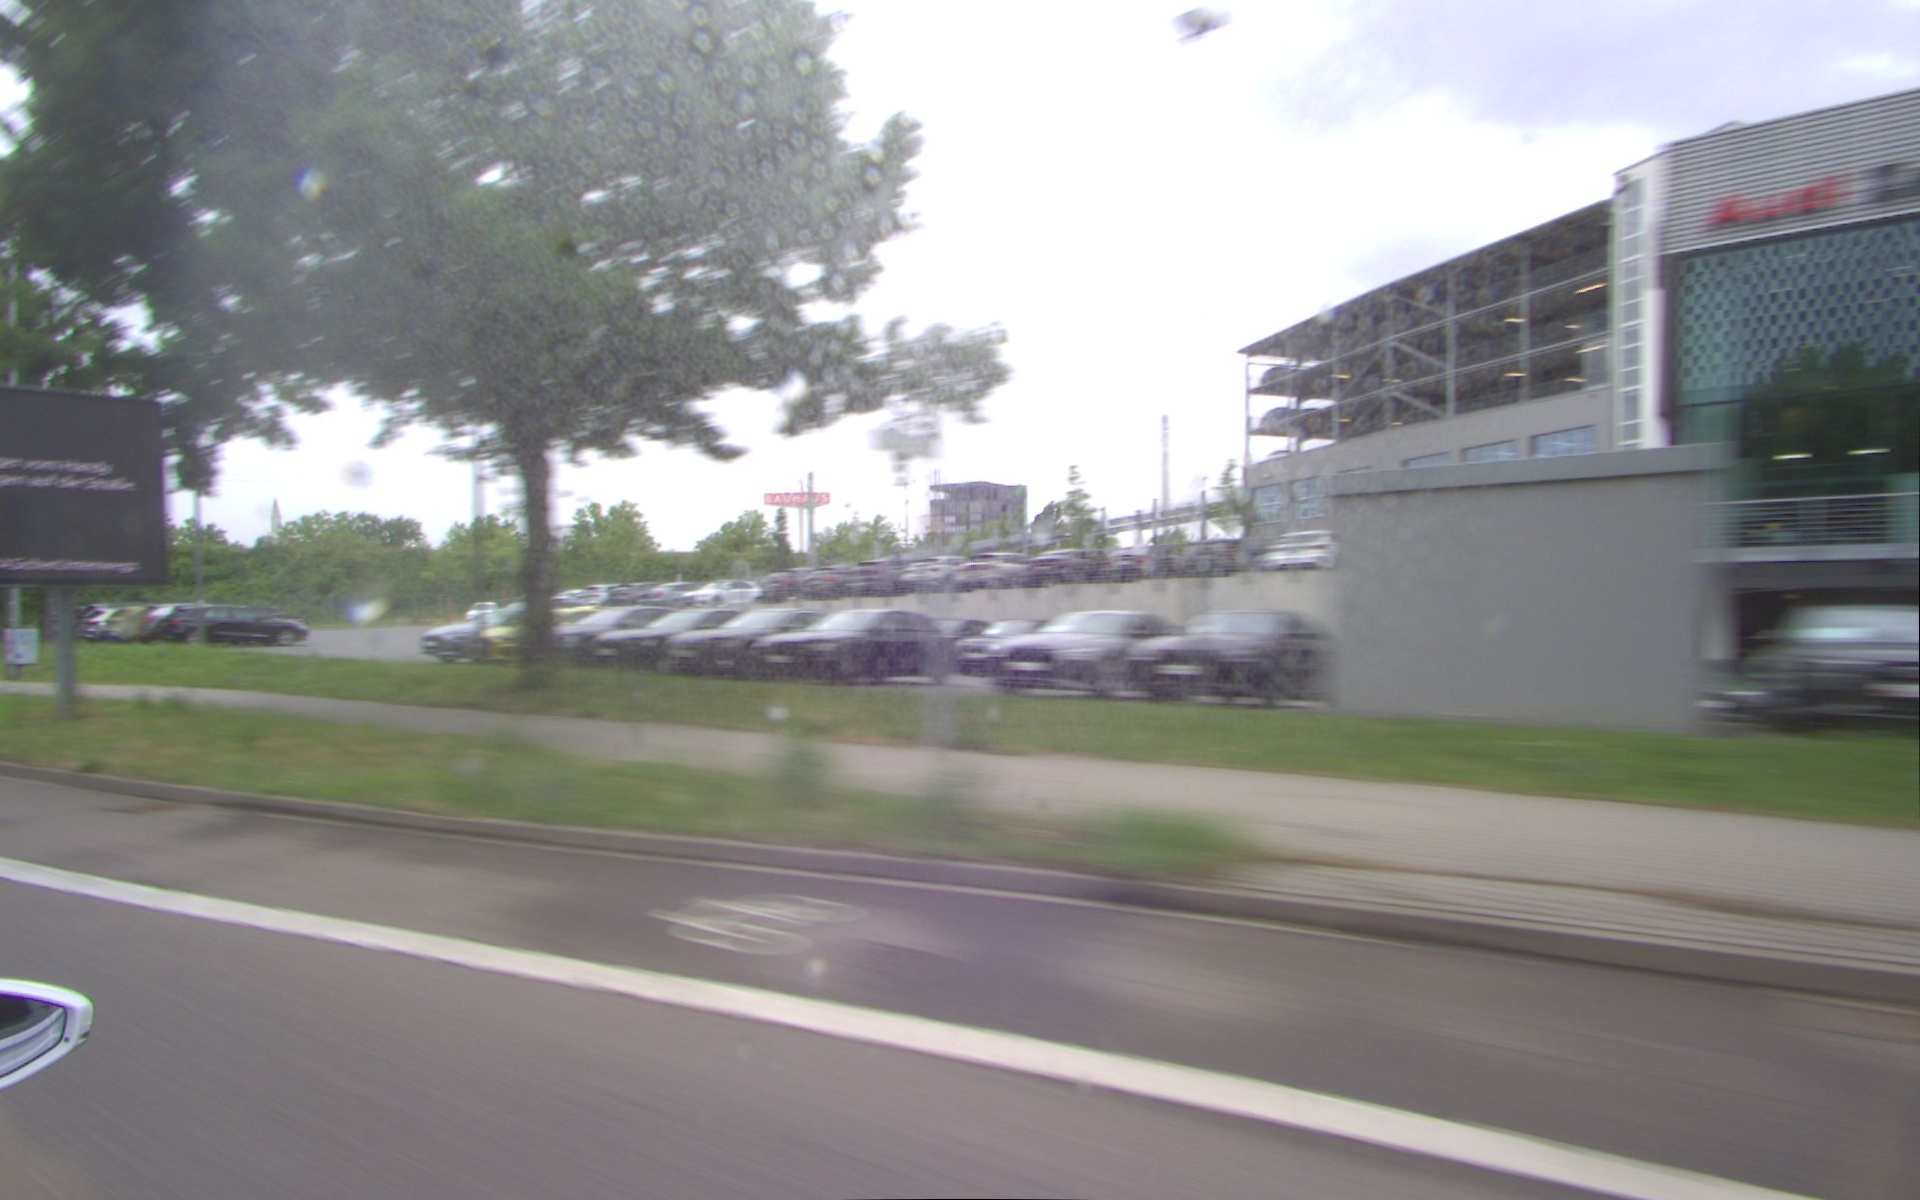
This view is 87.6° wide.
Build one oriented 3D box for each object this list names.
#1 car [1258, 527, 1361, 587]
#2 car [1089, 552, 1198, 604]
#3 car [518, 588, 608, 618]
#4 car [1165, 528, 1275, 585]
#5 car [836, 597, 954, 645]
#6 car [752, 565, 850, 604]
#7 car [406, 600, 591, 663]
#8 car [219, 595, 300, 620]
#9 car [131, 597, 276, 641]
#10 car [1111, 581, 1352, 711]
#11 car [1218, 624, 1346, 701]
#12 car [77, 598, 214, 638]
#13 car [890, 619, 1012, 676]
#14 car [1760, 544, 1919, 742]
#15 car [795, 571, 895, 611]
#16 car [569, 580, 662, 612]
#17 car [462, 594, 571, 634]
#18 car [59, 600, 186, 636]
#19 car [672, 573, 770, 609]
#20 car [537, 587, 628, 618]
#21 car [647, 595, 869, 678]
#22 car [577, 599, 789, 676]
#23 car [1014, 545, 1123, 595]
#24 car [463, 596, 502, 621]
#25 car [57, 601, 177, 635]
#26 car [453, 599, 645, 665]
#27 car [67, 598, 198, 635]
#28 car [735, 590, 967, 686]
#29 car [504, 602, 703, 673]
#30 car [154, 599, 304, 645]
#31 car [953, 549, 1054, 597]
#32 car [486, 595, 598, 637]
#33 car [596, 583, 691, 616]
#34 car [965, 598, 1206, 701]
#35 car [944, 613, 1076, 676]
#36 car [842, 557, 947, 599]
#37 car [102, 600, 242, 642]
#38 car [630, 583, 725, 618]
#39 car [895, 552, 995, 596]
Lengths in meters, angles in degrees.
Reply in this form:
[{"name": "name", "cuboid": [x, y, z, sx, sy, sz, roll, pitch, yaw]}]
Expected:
[{"name": "car", "cuboid": [10.568, -1.243, 30.115, 1.855, 1.516, 4.325, 2, 0, 34]}, {"name": "car", "cuboid": [6.130, -0.684, 33.119, 1.943, 1.516, 4.325, 2, 0, 34]}, {"name": "car", "cuboid": [-20.453, 0.167, 51.736, 1.706, 1.455, 4.076, 2, 0, 34]}, {"name": "car", "cuboid": [8.312, -1.330, 31.789, 2.040, 1.516, 4.325, 2, 0, 34]}, {"name": "car", "cuboid": [-2.062, 0.678, 32.727, 1.706, 1.455, 4.076, 2, 0, 34]}, {"name": "car", "cuboid": [-6.564, -0.620, 41.646, 1.706, 1.455, 4.076, 2, 0, 34]}, {"name": "car", "cuboid": [-11.894, 0.789, 26.022, 1.706, 1.455, 4.076, 2, 0, 34]}, {"name": "car", "cuboid": [-44.748, 0.499, 63.979, 1.710, 1.455, 3.968, 2, 0, 42]}, {"name": "car", "cuboid": [-27.402, 0.688, 36.356, 1.710, 1.455, 3.968, 2, 0, 42]}, {"name": "car", "cuboid": [4.078, 0.732, 14.544, 1.974, 1.583, 4.250, -1, -5, 36]}, {"name": "car", "cuboid": [7.848, 1.517, 24.183, 1.838, 1.627, 3.979, 2, -2, 35]}, {"name": "car", "cuboid": [-31.846, 0.698, 39.235, 1.710, 1.455, 3.968, 2, 0, 42]}, {"name": "car", "cuboid": [-0.196, 1.392, 30.632, 1.706, 1.562, 4.076, 2, 0, 34]}, {"name": "car", "cuboid": [9.844, 0.602, 10.543, 1.974, 1.722, 4.542, 2, -5, 36]}, {"name": "car", "cuboid": [-4.527, -0.345, 39.968, 1.706, 1.455, 4.076, 2, 0, 34]}, {"name": "car", "cuboid": [-16.855, -0.168, 49.138, 1.706, 1.455, 4.076, 2, 0, 34]}, {"name": "car", "cuboid": [-19.480, 0.636, 44.137, 1.706, 1.642, 4.076, 2, 0, 34]}, {"name": "car", "cuboid": [-35.566, 0.772, 42.590, 1.710, 1.455, 3.968, 2, 0, 42]}, {"name": "car", "cuboid": [-10.623, -0.376, 44.760, 1.706, 1.455, 4.189, 2, 0, 34]}, {"name": "car", "cuboid": [-18.949, 0.125, 50.391, 1.706, 1.455, 4.076, 2, 0, 34]}, {"name": "car", "cuboid": [-4.013, 0.797, 20.575, 1.903, 1.522, 4.335, 0, -3, 35]}, {"name": "car", "cuboid": [-5.923, 0.793, 21.918, 1.818, 1.508, 4.332, 0, -1, 35]}, {"name": "car", "cuboid": [3.767, -0.988, 34.184, 1.855, 1.516, 4.325, 2, 0, 34]}, {"name": "car", "cuboid": [-29.557, 0.521, 62.059, 1.968, 1.416, 3.986, 2, 0, -23]}, {"name": "car", "cuboid": [-38.336, 0.825, 45.603, 1.710, 1.455, 3.968, 2, 0, 42]}, {"name": "car", "cuboid": [-10.027, 0.759, 24.701, 1.820, 1.455, 4.076, 2, 0, 34]}, {"name": "car", "cuboid": [-34.117, 0.689, 41.348, 1.710, 1.455, 3.968, 2, 0, 42]}, {"name": "car", "cuboid": [-1.941, 0.798, 19.175, 1.973, 1.590, 4.437, 0, -4, 35]}, {"name": "car", "cuboid": [-8.155, 0.823, 23.237, 1.796, 1.455, 4.076, 2, 0, 34]}, {"name": "car", "cuboid": [-25.449, 0.767, 34.962, 1.710, 1.455, 3.968, 2, 0, 42]}, {"name": "car", "cuboid": [1.605, -0.924, 35.631, 1.706, 1.516, 4.076, 2, 0, 34]}, {"name": "car", "cuboid": [-17.545, 0.693, 42.199, 1.706, 1.642, 4.076, 2, 0, 34]}, {"name": "car", "cuboid": [-14.937, 0.002, 47.432, 1.706, 1.455, 4.076, 2, 0, 34]}, {"name": "car", "cuboid": [2.146, 0.856, 16.032, 1.974, 1.409, 4.283, -1, -5, 36]}, {"name": "car", "cuboid": [1.509, 1.317, 28.945, 1.972, 1.627, 3.979, 2, -2, 35]}, {"name": "car", "cuboid": [-2.450, -0.815, 38.463, 1.920, 1.455, 4.076, 2, 0, 34]}, {"name": "car", "cuboid": [-29.861, 0.794, 38.019, 1.710, 1.455, 3.968, 2, 0, 42]}, {"name": "car", "cuboid": [-12.914, 0.041, 46.013, 1.706, 1.455, 4.076, 2, 0, 34]}, {"name": "car", "cuboid": [-0.496, -0.941, 37.171, 1.706, 1.455, 4.076, 2, 0, 34]}]
